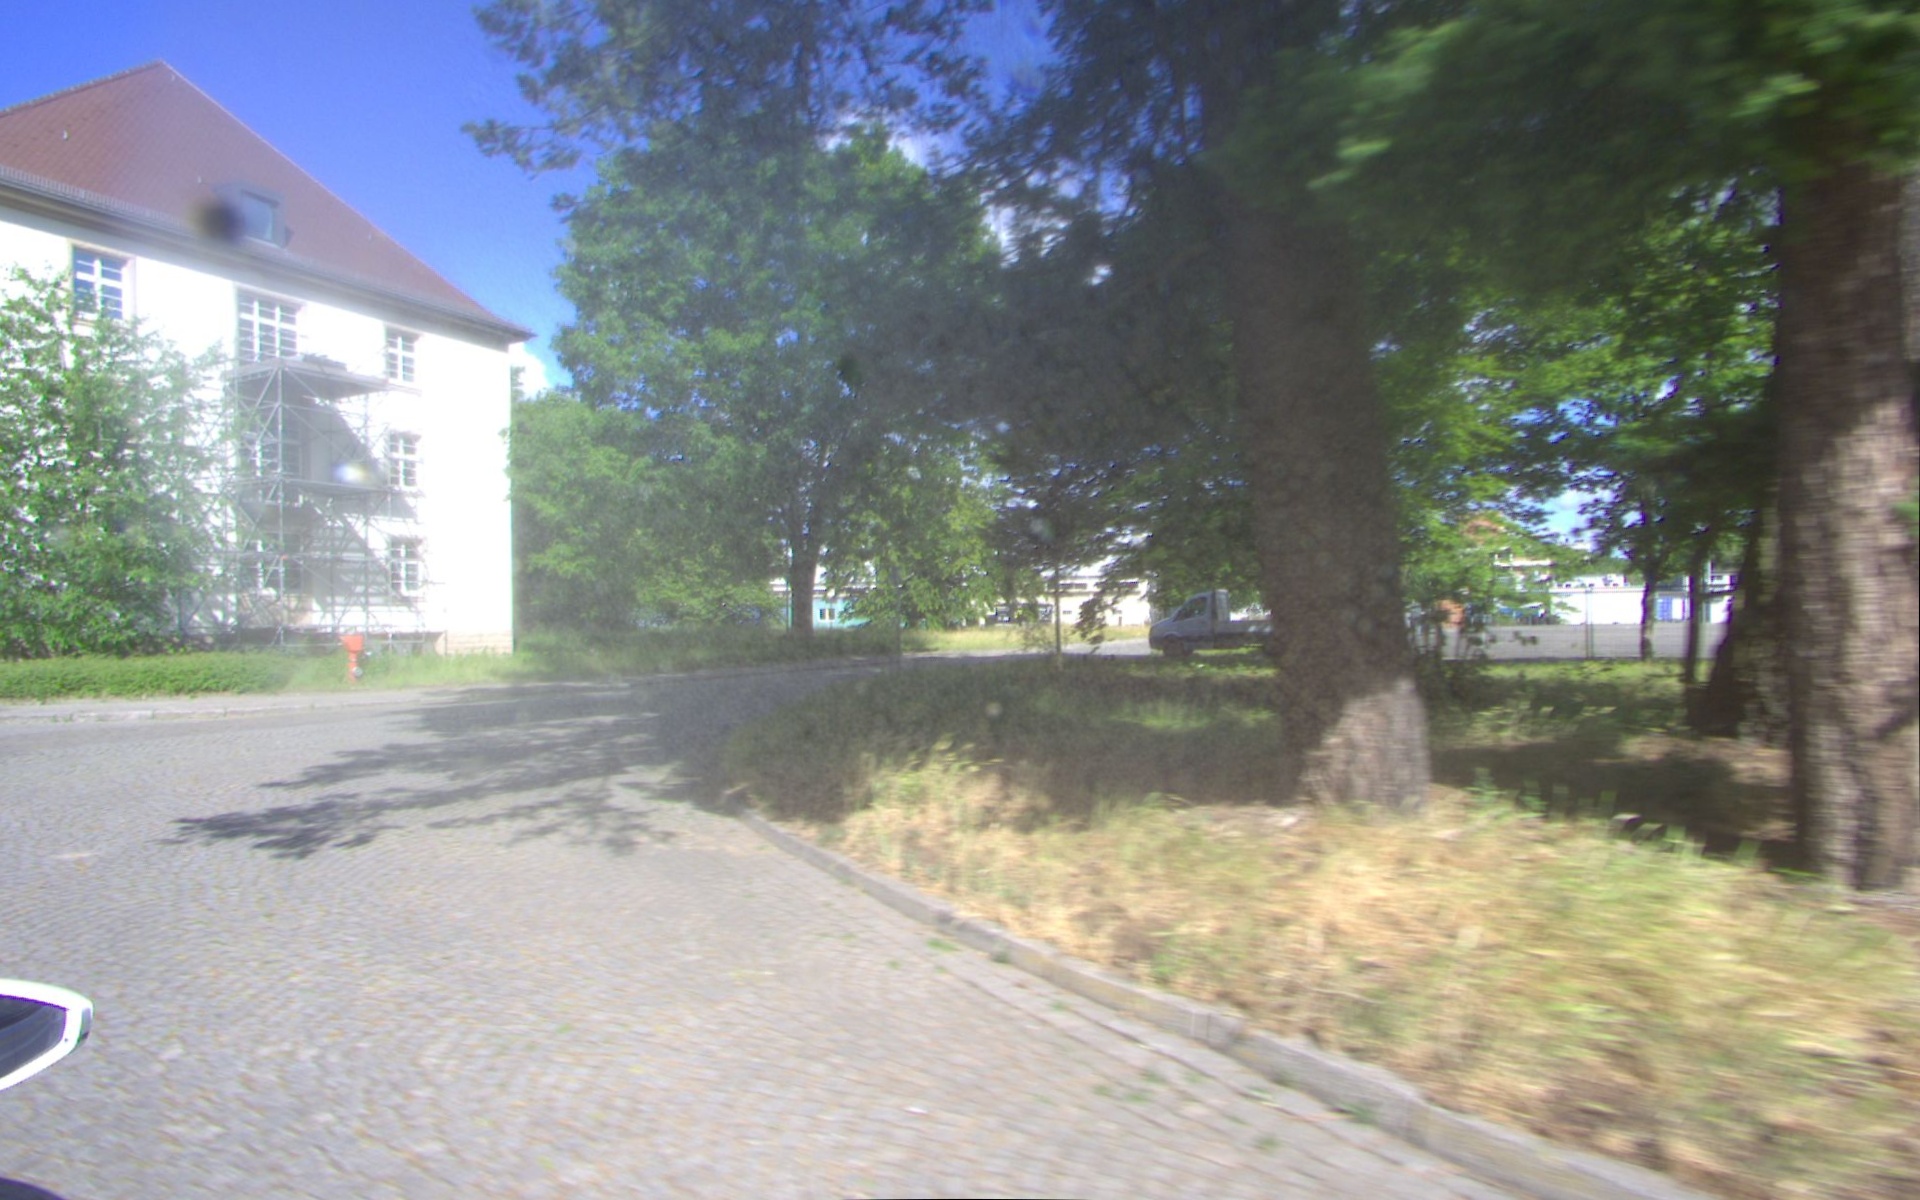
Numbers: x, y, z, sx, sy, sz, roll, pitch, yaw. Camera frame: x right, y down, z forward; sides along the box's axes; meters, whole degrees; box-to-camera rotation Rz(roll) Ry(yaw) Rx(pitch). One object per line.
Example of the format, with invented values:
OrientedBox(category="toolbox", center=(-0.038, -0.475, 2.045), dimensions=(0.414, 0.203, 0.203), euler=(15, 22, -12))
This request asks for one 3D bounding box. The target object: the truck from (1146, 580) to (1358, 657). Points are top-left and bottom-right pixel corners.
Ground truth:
OrientedBox(category="truck", center=(10.044, 0.671, 34.669), dimensions=(6.778, 2.454, 2.232), euler=(-1, -2, 28))
